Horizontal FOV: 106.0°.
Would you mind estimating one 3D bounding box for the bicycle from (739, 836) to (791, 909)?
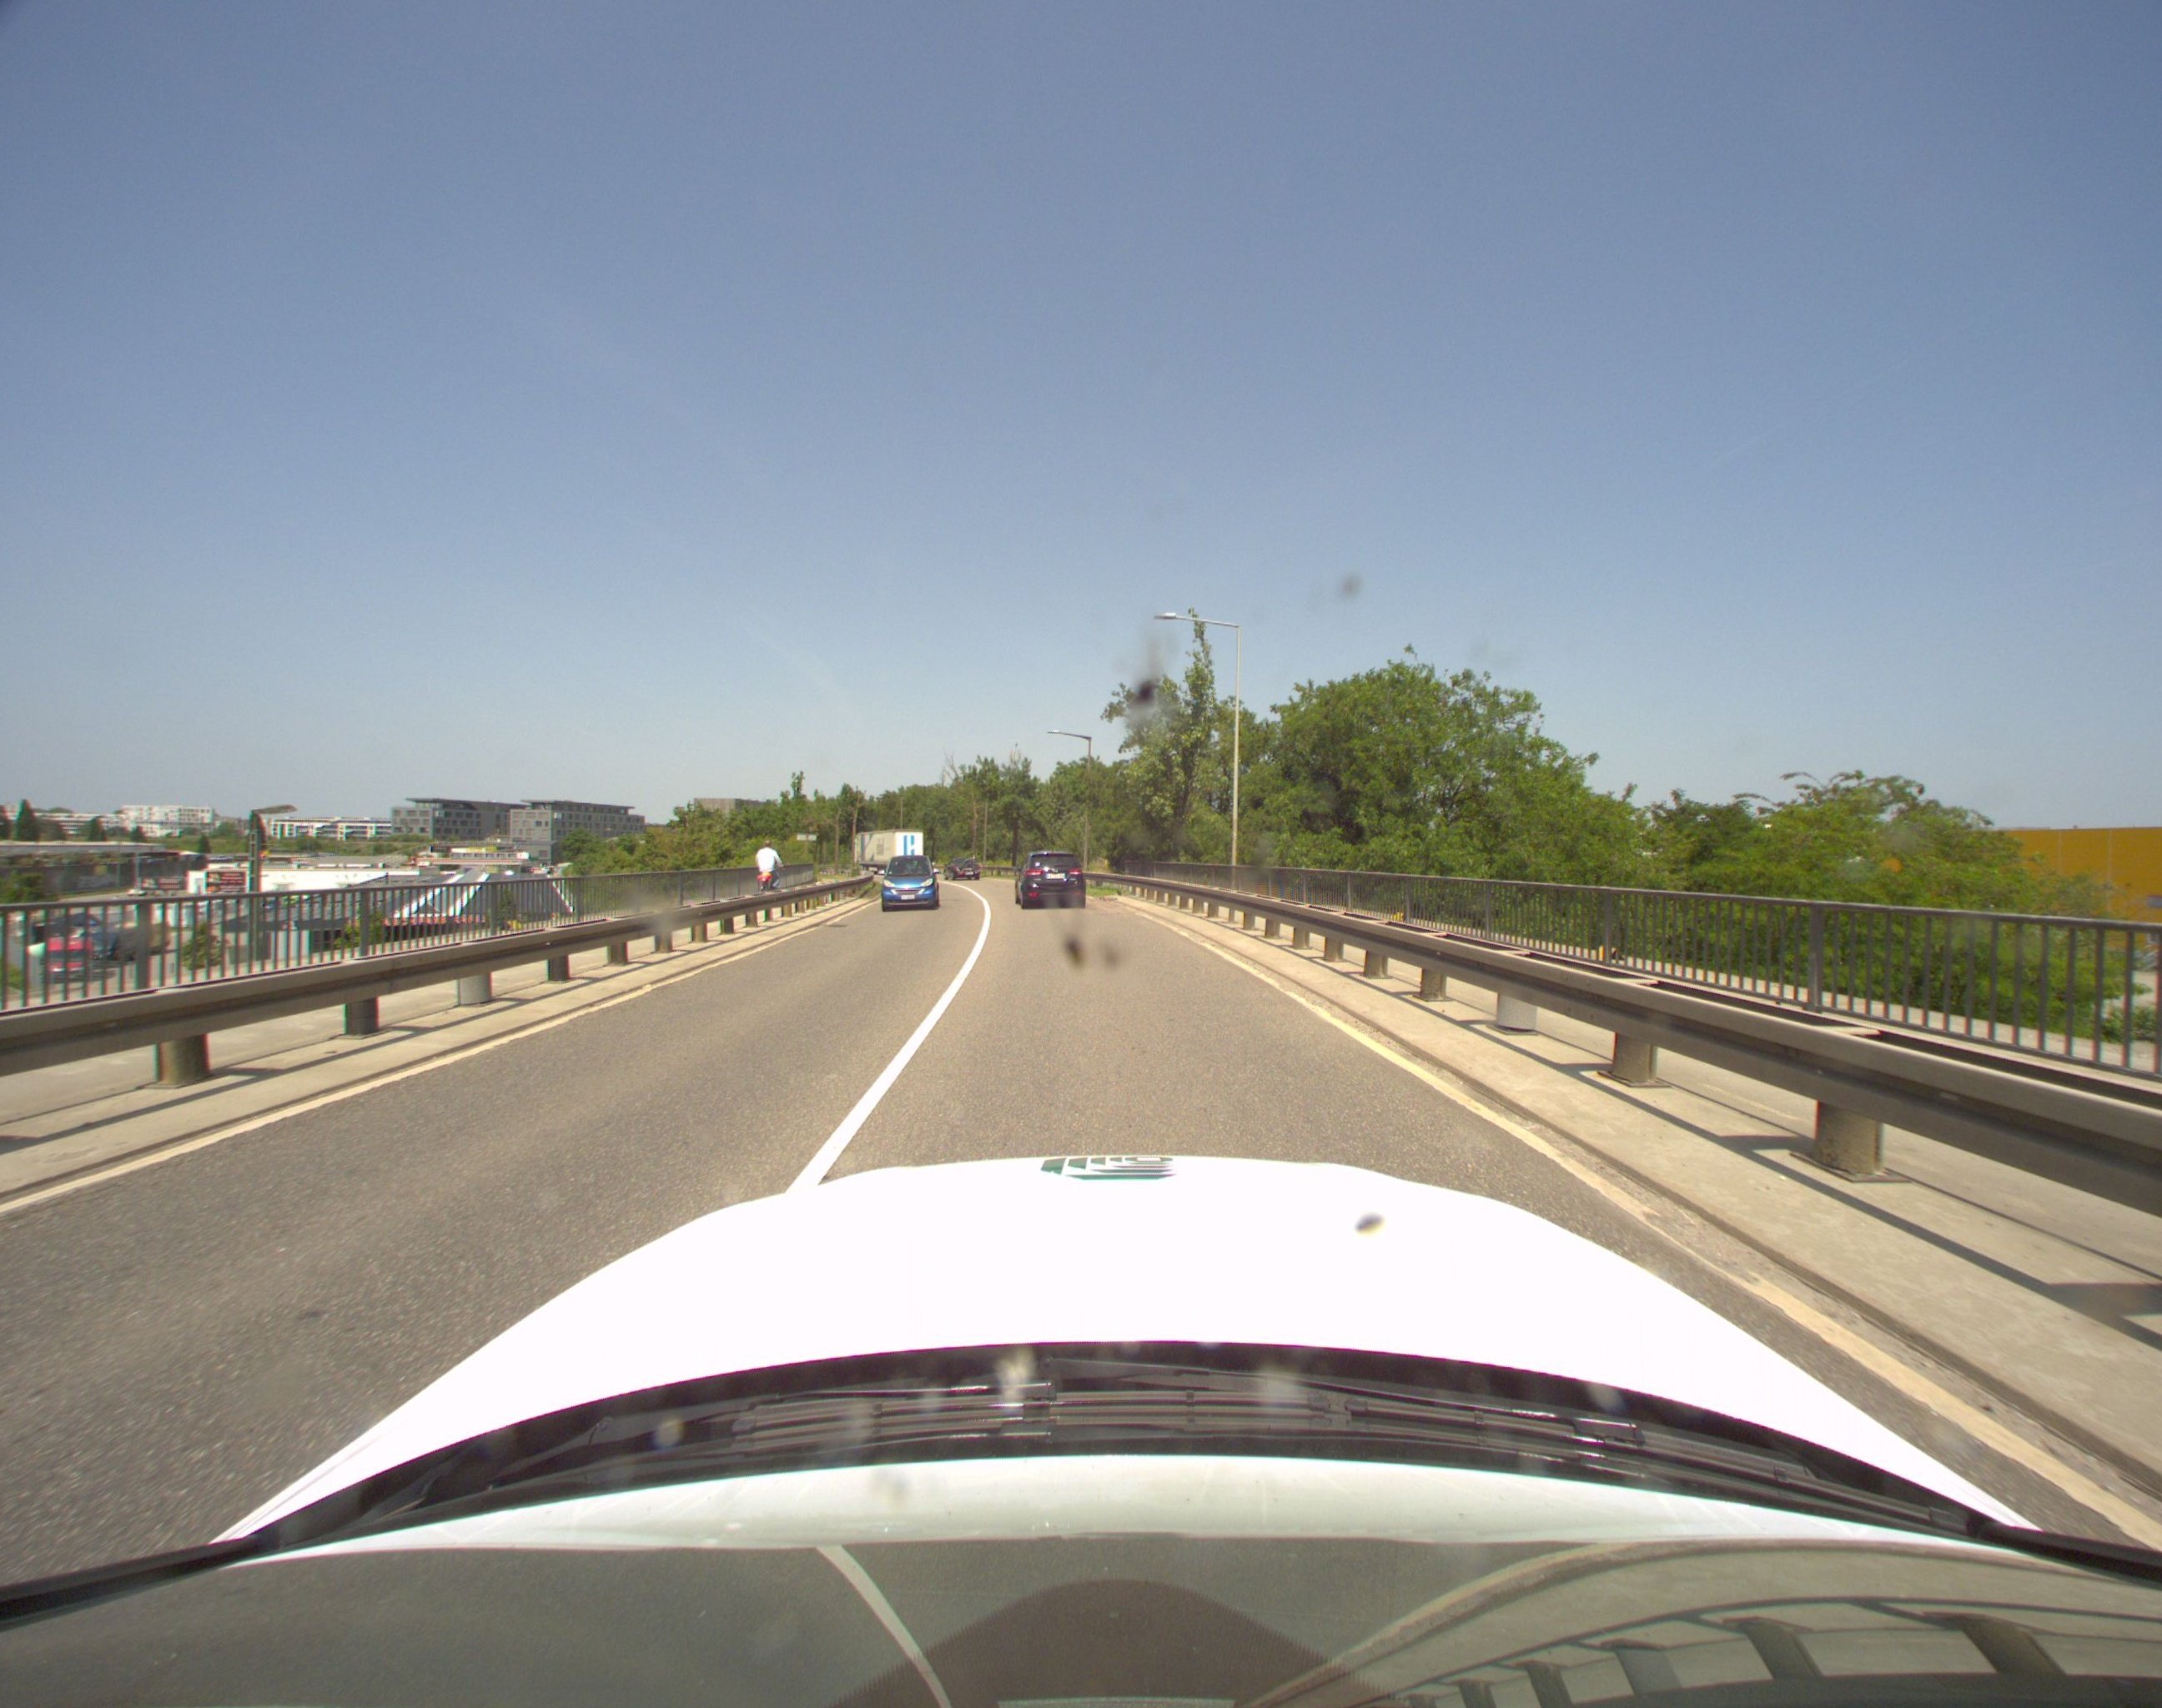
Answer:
[{"bbox_3d":[-8.242,0.450,21.362,0.697,1.801,2.176,-1,1,-6],"label":"bicycle"}]

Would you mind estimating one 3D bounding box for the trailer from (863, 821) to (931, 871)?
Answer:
[{"bbox_3d":[-17.342,-0.781,76.048,3.589,4.383,11.341,-1,1,-27],"label":"trailer"}]

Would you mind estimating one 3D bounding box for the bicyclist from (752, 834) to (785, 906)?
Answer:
[{"bbox_3d":[-8.265,0.406,21.571,0.623,1.886,0.711,-1,1,-6],"label":"bicyclist"}]

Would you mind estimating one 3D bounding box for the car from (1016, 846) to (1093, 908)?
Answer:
[{"bbox_3d":[-0.857,0.581,23.452,1.919,1.574,3.883,-1,1,-6],"label":"car"}]

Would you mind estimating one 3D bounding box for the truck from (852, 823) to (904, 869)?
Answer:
[{"bbox_3d":[-20.592,-0.868,82.349,3.593,4.440,6.456,-1,1,-28],"label":"truck"}]

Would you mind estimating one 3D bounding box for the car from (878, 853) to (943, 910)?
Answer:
[{"bbox_3d":[-4.824,0.730,23.288,1.596,1.486,2.741,-1,1,-8],"label":"car"}]

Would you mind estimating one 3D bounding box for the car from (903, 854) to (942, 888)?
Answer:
[{"bbox_3d":[-7.992,0.821,41.335,1.823,1.537,4.180,-1,1,-10],"label":"car"}]

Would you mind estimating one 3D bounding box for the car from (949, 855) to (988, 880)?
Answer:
[{"bbox_3d":[-7.191,0.810,51.782,2.015,1.429,3.758,-1,1,-14],"label":"car"}]
